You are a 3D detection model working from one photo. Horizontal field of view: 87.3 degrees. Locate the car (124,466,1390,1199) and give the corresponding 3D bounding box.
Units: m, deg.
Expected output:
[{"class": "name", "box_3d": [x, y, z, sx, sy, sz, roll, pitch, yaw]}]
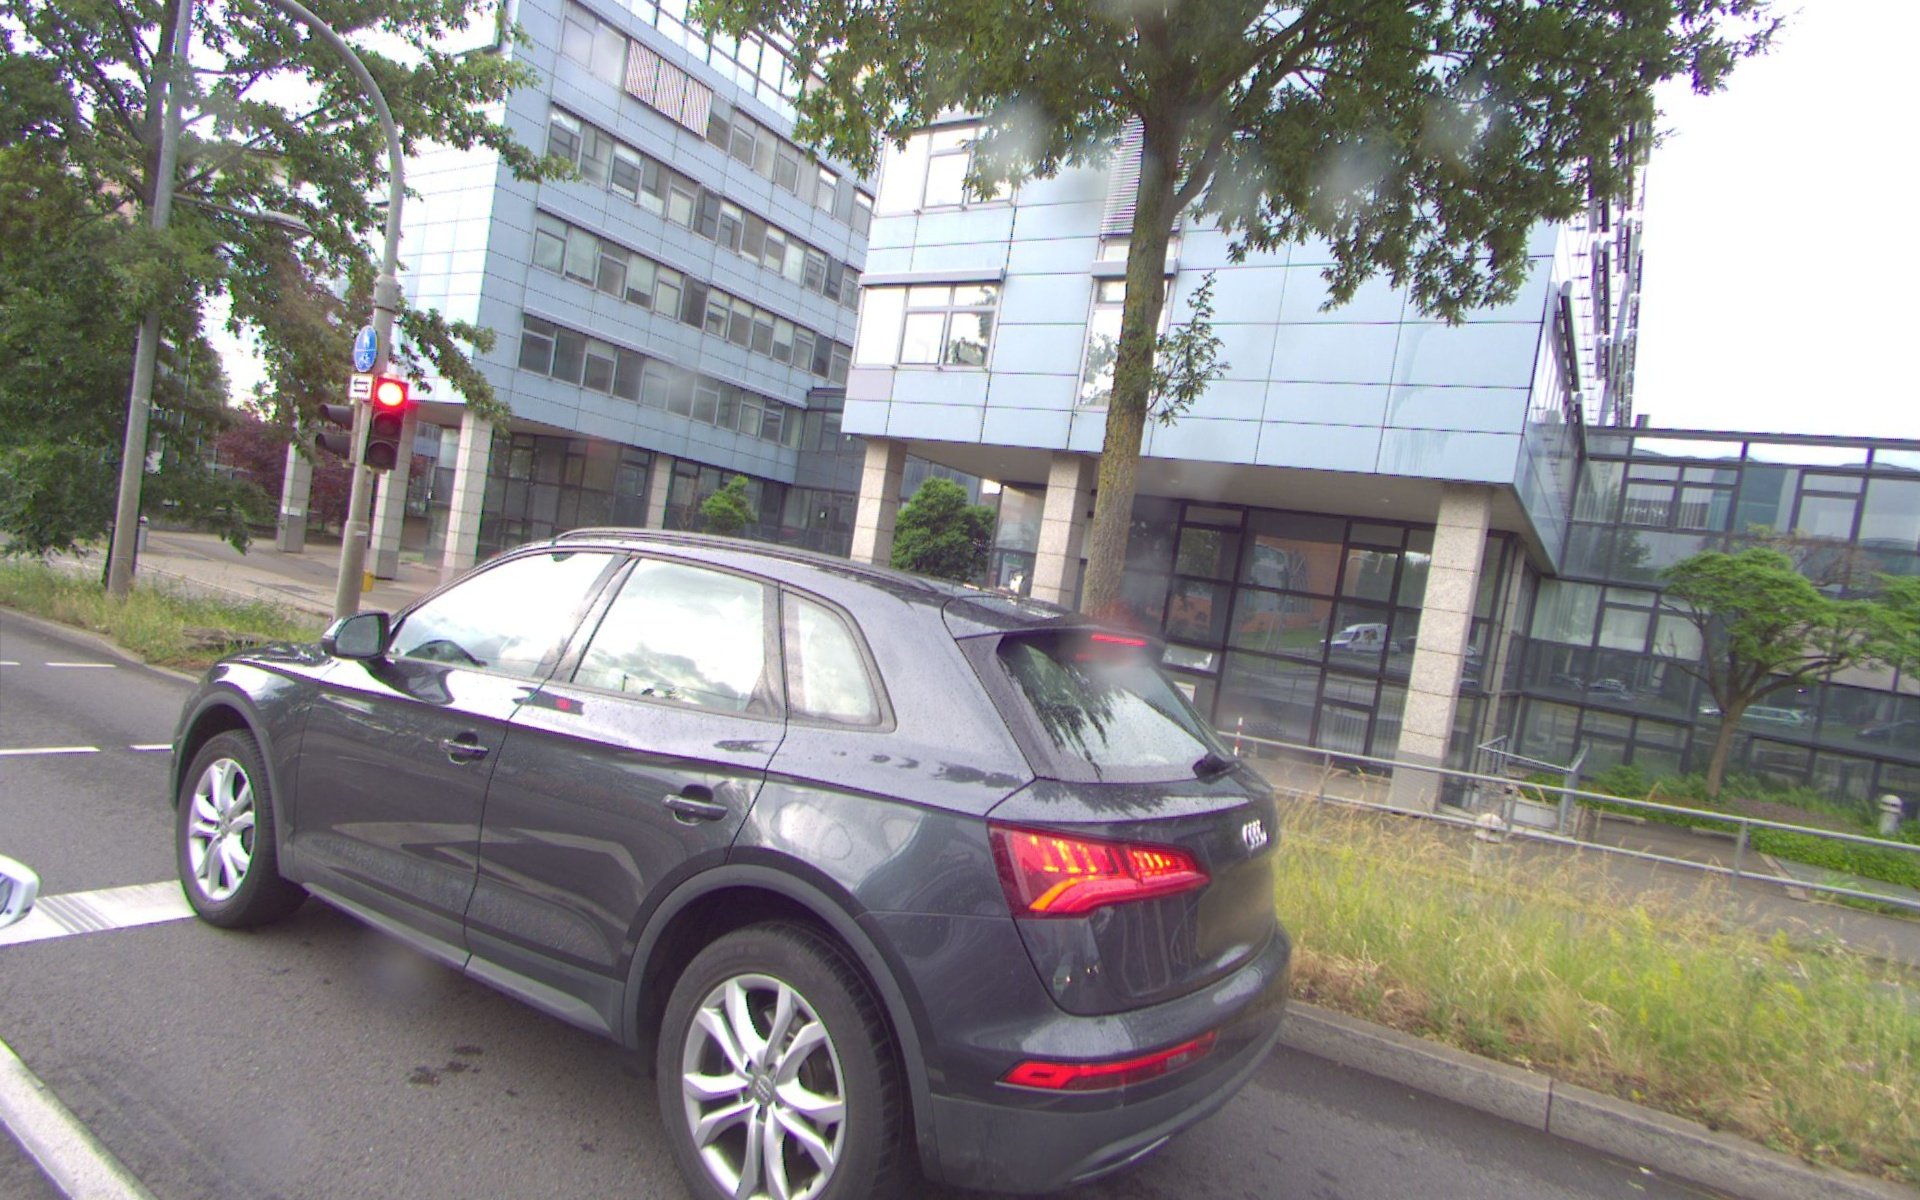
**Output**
[{"class": "car", "box_3d": [-0.988, 0.574, 3.725, 4.396, 1.632, 1.821, 7, -1, 32]}]
